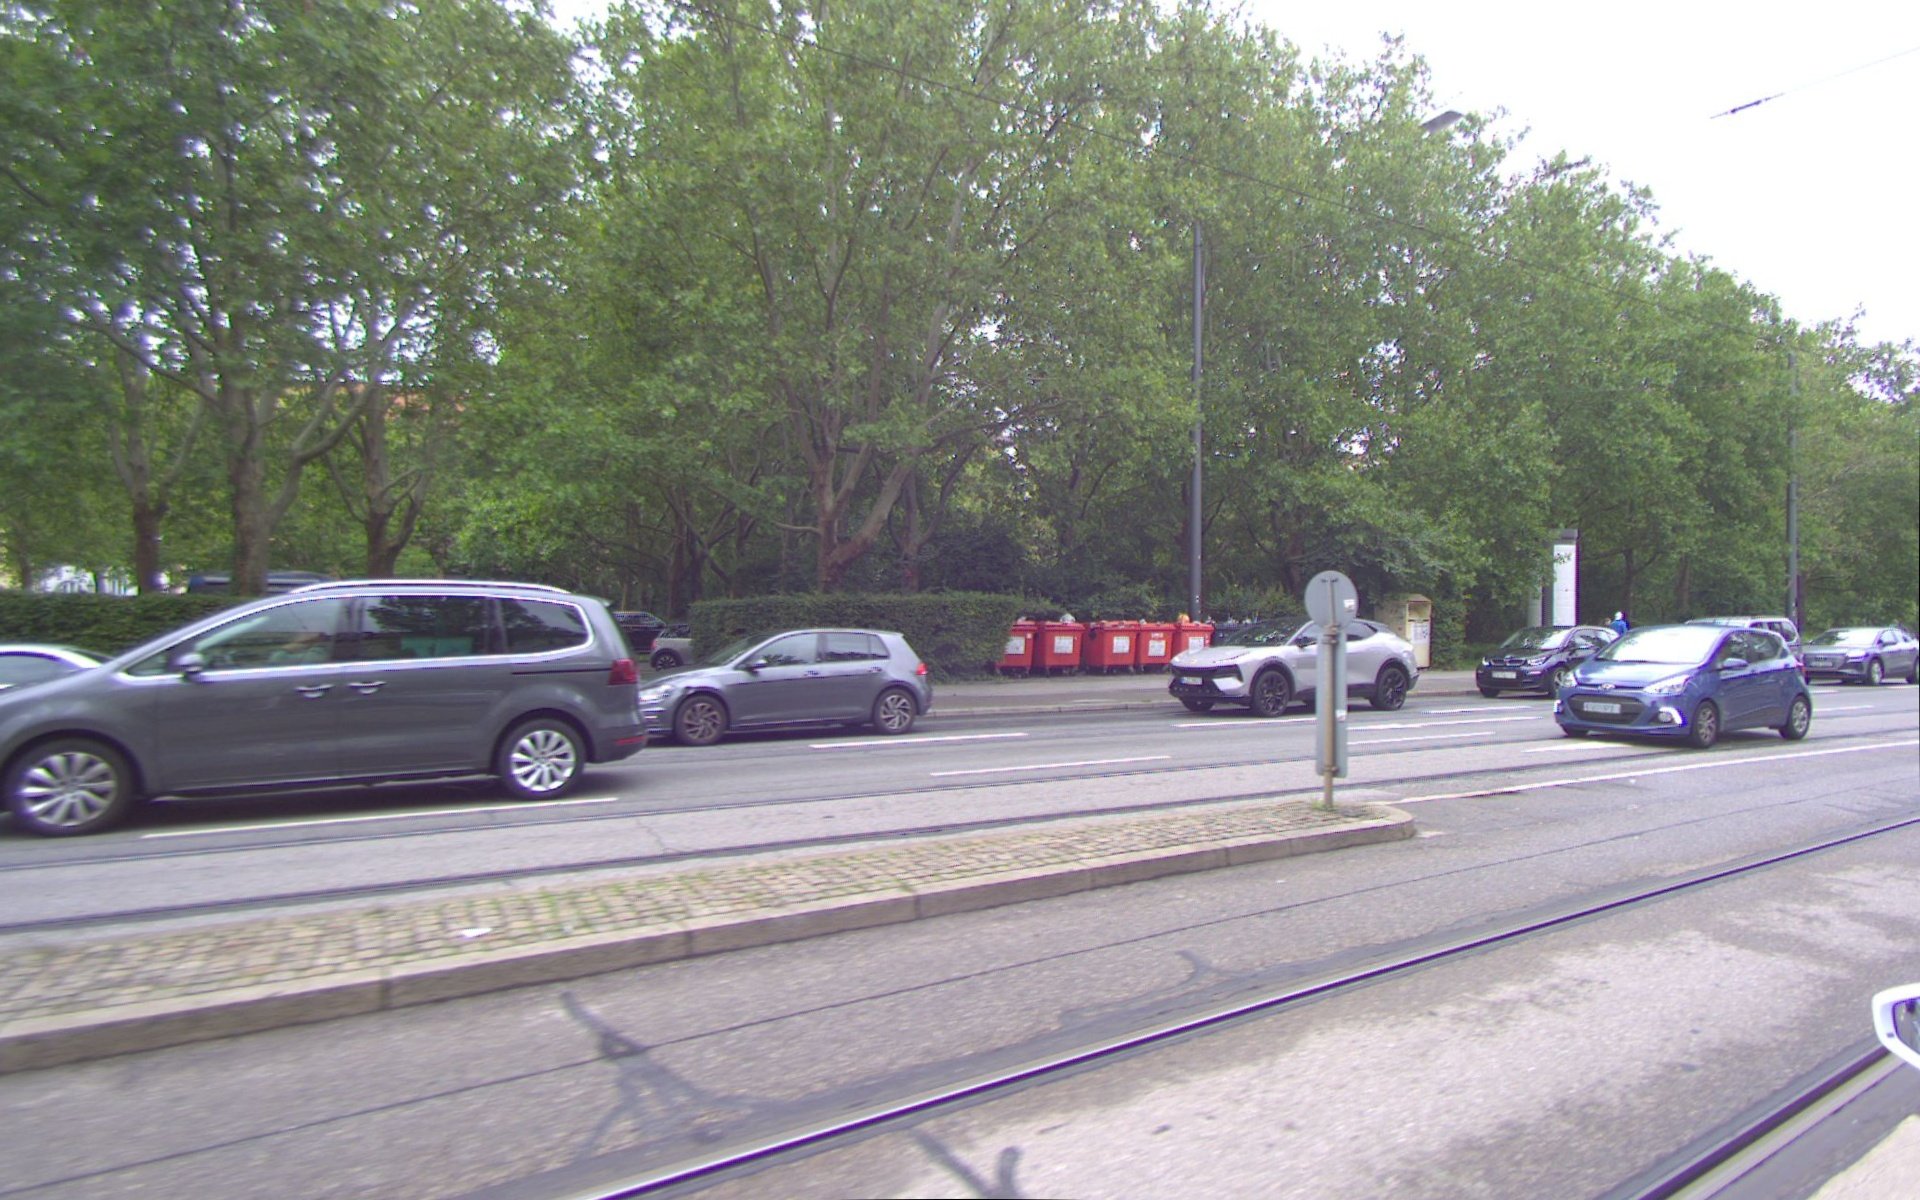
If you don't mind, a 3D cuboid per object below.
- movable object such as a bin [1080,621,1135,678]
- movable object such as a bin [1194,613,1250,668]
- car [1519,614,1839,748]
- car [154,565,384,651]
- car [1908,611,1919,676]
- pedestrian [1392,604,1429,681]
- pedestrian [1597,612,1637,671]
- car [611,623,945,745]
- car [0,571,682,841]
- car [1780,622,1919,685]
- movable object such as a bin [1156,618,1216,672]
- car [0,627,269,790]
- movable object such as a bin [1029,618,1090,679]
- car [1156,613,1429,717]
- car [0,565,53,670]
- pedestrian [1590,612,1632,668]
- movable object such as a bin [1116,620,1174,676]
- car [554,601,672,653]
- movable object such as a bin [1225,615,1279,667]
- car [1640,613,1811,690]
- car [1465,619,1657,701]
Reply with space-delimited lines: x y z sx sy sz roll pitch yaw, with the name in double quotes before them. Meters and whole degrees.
"movable object such as a bin" 3.714 1.230 25.272 1.002 1.371 0.929 1 0 -32
"movable object such as a bin" 7.133 1.087 27.360 1.071 1.371 0.928 1 4 -33
"car" 9.662 1.010 13.446 4.300 1.542 1.792 2 -2 -28
"car" -21.974 0.202 32.312 5.786 2.569 1.987 -1 1 -26
"car" 32.430 1.399 32.006 4.976 2.017 1.792 1 -1 -28
"pedestrian" 12.139 1.126 27.060 0.669 2.041 0.613 -1 1 -22
"pedestrian" 20.430 1.287 31.224 0.806 1.813 0.663 1 0 -20
"car" -2.407 1.033 13.459 4.048 1.399 1.814 1 -1 -29
"car" -4.865 0.709 8.023 4.831 1.705 1.814 1 -1 -29
"car" 25.340 1.459 28.370 4.531 1.656 1.792 1 -1 -28
"movable object such as a bin" 6.017 1.174 26.743 1.264 1.371 0.929 1 1 -33
"car" -9.085 0.999 9.449 4.052 1.429 1.724 1 -4 -29
"movable object such as a bin" 2.453 1.189 24.732 1.071 1.371 0.928 1 5 -33
"car" 6.018 1.103 18.036 4.937 1.664 1.792 1 -1 -28
"car" -20.167 0.194 18.579 1.959 2.039 4.634 -1 -6 12
"pedestrian" 20.490 1.253 31.610 0.973 1.707 0.663 -1 1 -20
"movable object such as a bin" 4.792 1.232 26.038 1.116 1.371 0.929 1 2 -33
"car" -12.861 0.962 37.267 3.943 1.762 1.860 -1 1 -26
"movable object such as a bin" 8.116 1.132 27.940 1.071 1.371 0.929 1 2 -33
"car" 19.272 1.254 25.264 4.417 1.803 1.792 1 -1 -28
"car" 13.555 1.301 22.626 4.300 1.689 1.792 1 -1 -28
